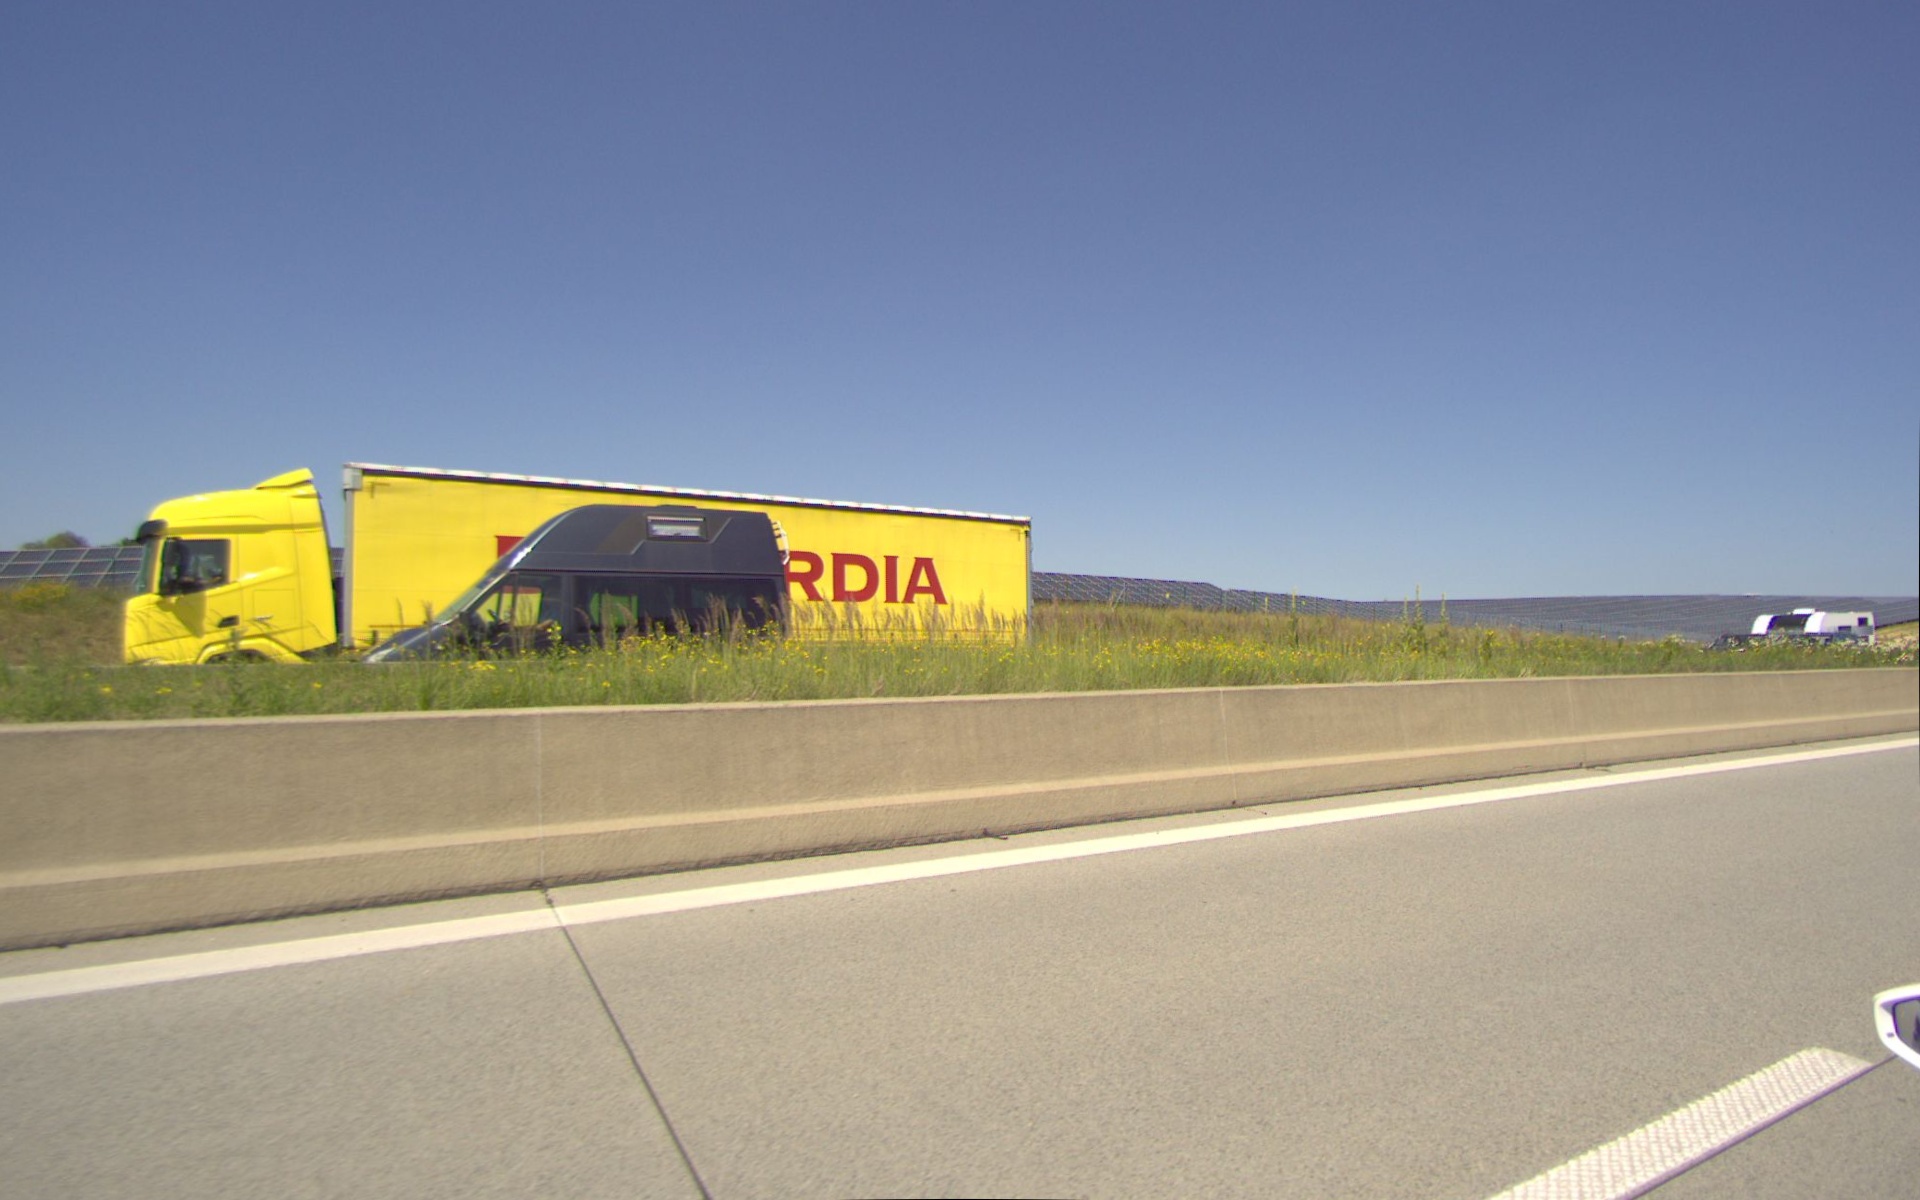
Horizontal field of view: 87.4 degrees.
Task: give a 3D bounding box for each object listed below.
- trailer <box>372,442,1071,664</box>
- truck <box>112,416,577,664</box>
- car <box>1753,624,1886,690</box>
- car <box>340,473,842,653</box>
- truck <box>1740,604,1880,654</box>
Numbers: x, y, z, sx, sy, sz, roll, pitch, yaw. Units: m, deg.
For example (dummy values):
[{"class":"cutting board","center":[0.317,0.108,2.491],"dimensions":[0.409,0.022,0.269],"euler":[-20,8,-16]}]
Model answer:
[{"class":"trailer","center":[-4.178,-0.574,21.002],"dimensions":[13.855,3.598,2.917],"euler":[2,0,-30]},{"class":"truck","center":[-10.213,-0.785,17.369],"dimensions":[6.273,3.587,2.909],"euler":[2,0,-30]},{"class":"car","center":[24.945,1.634,29.139],"dimensions":[3.698,1.751,1.816],"euler":[2,0,-30]},{"class":"car","center":[-4.282,-0.304,12.110],"dimensions":[5.327,1.751,1.984],"euler":[2,0,-31]},{"class":"truck","center":[38.624,1.342,45.577],"dimensions":[7.541,2.040,2.504],"euler":[2,0,-31]}]
